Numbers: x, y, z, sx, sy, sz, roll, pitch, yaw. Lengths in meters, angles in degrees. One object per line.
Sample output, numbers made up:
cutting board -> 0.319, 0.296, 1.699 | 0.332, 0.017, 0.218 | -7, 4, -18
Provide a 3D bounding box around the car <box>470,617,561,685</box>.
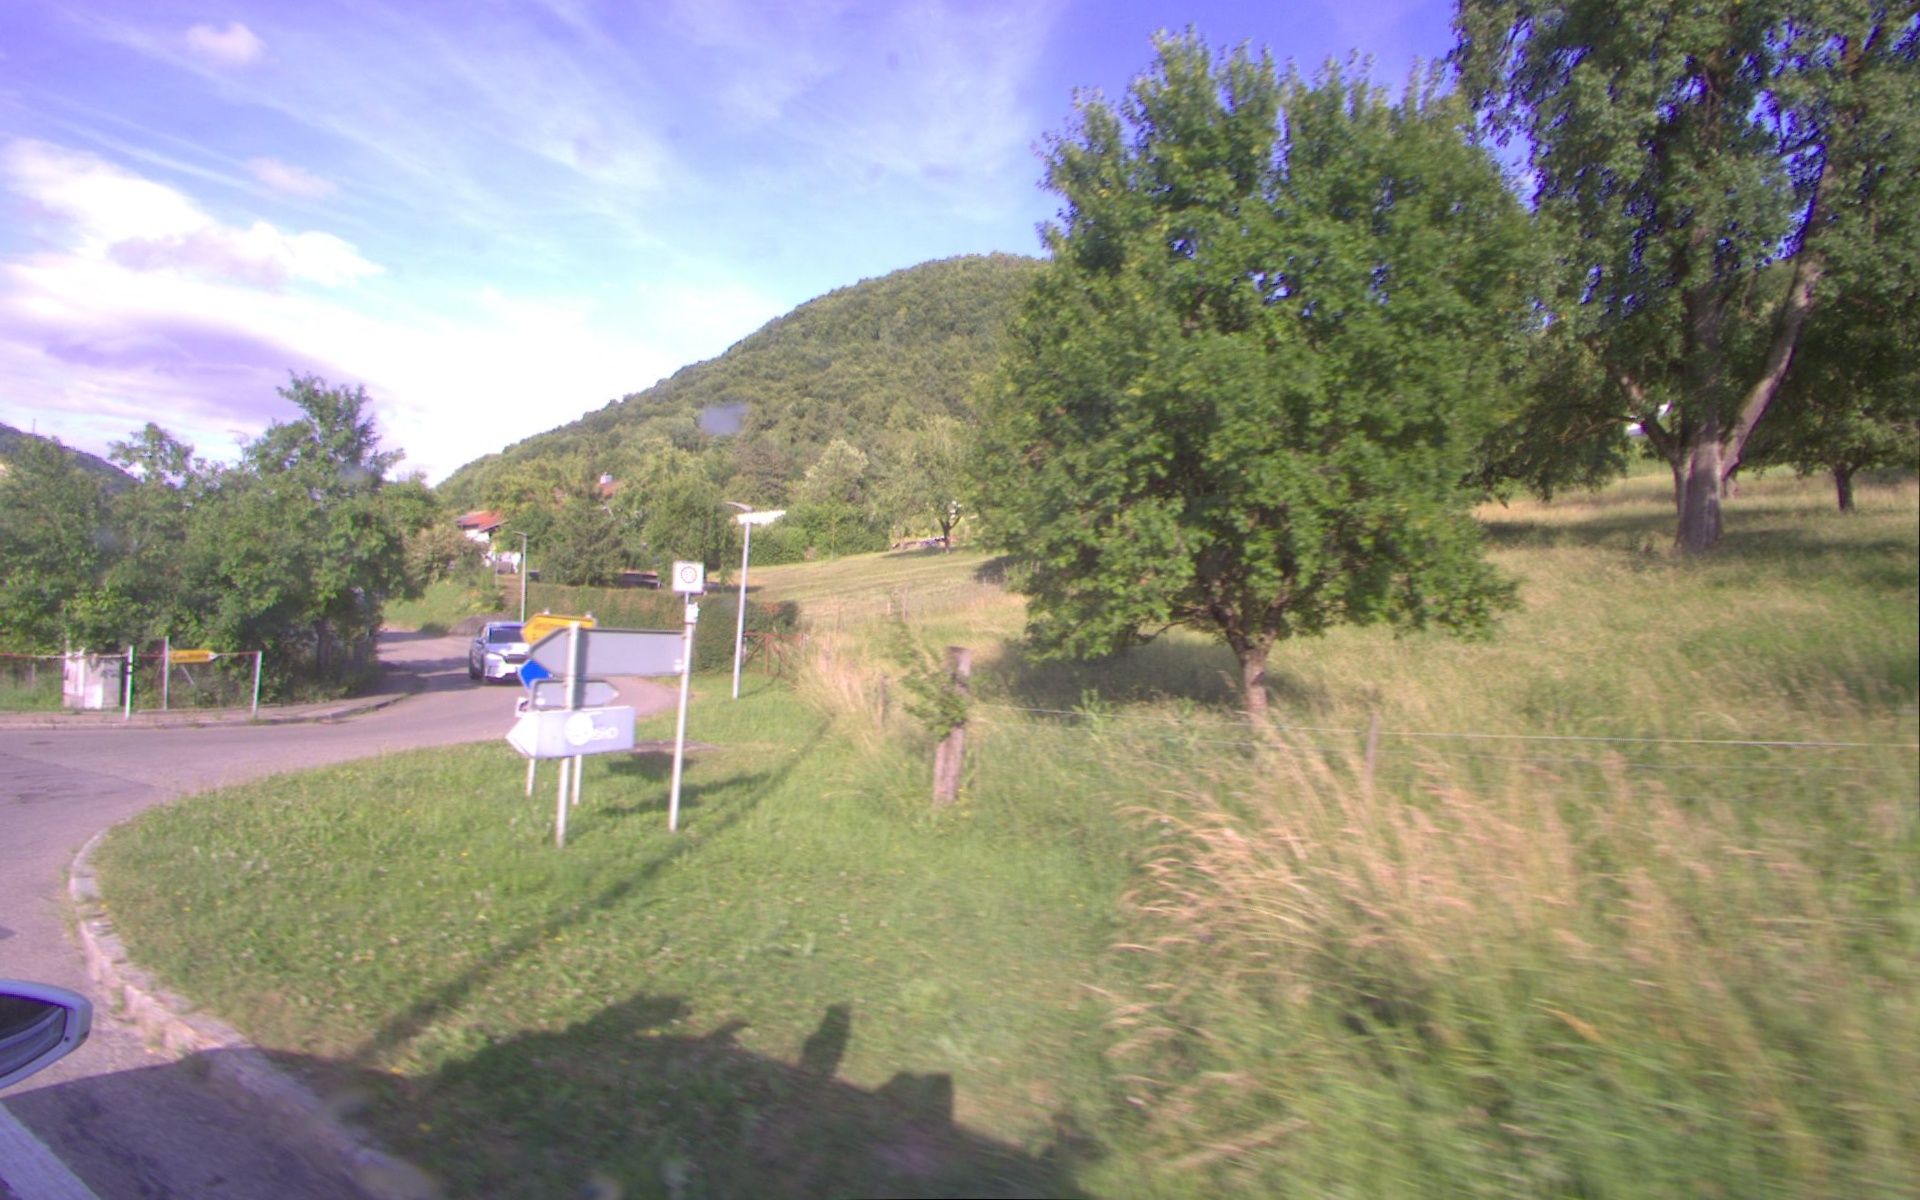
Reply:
car -> -12.249, 1.339, 27.435 | 1.847, 1.631, 4.548 | 2, -1, -29
